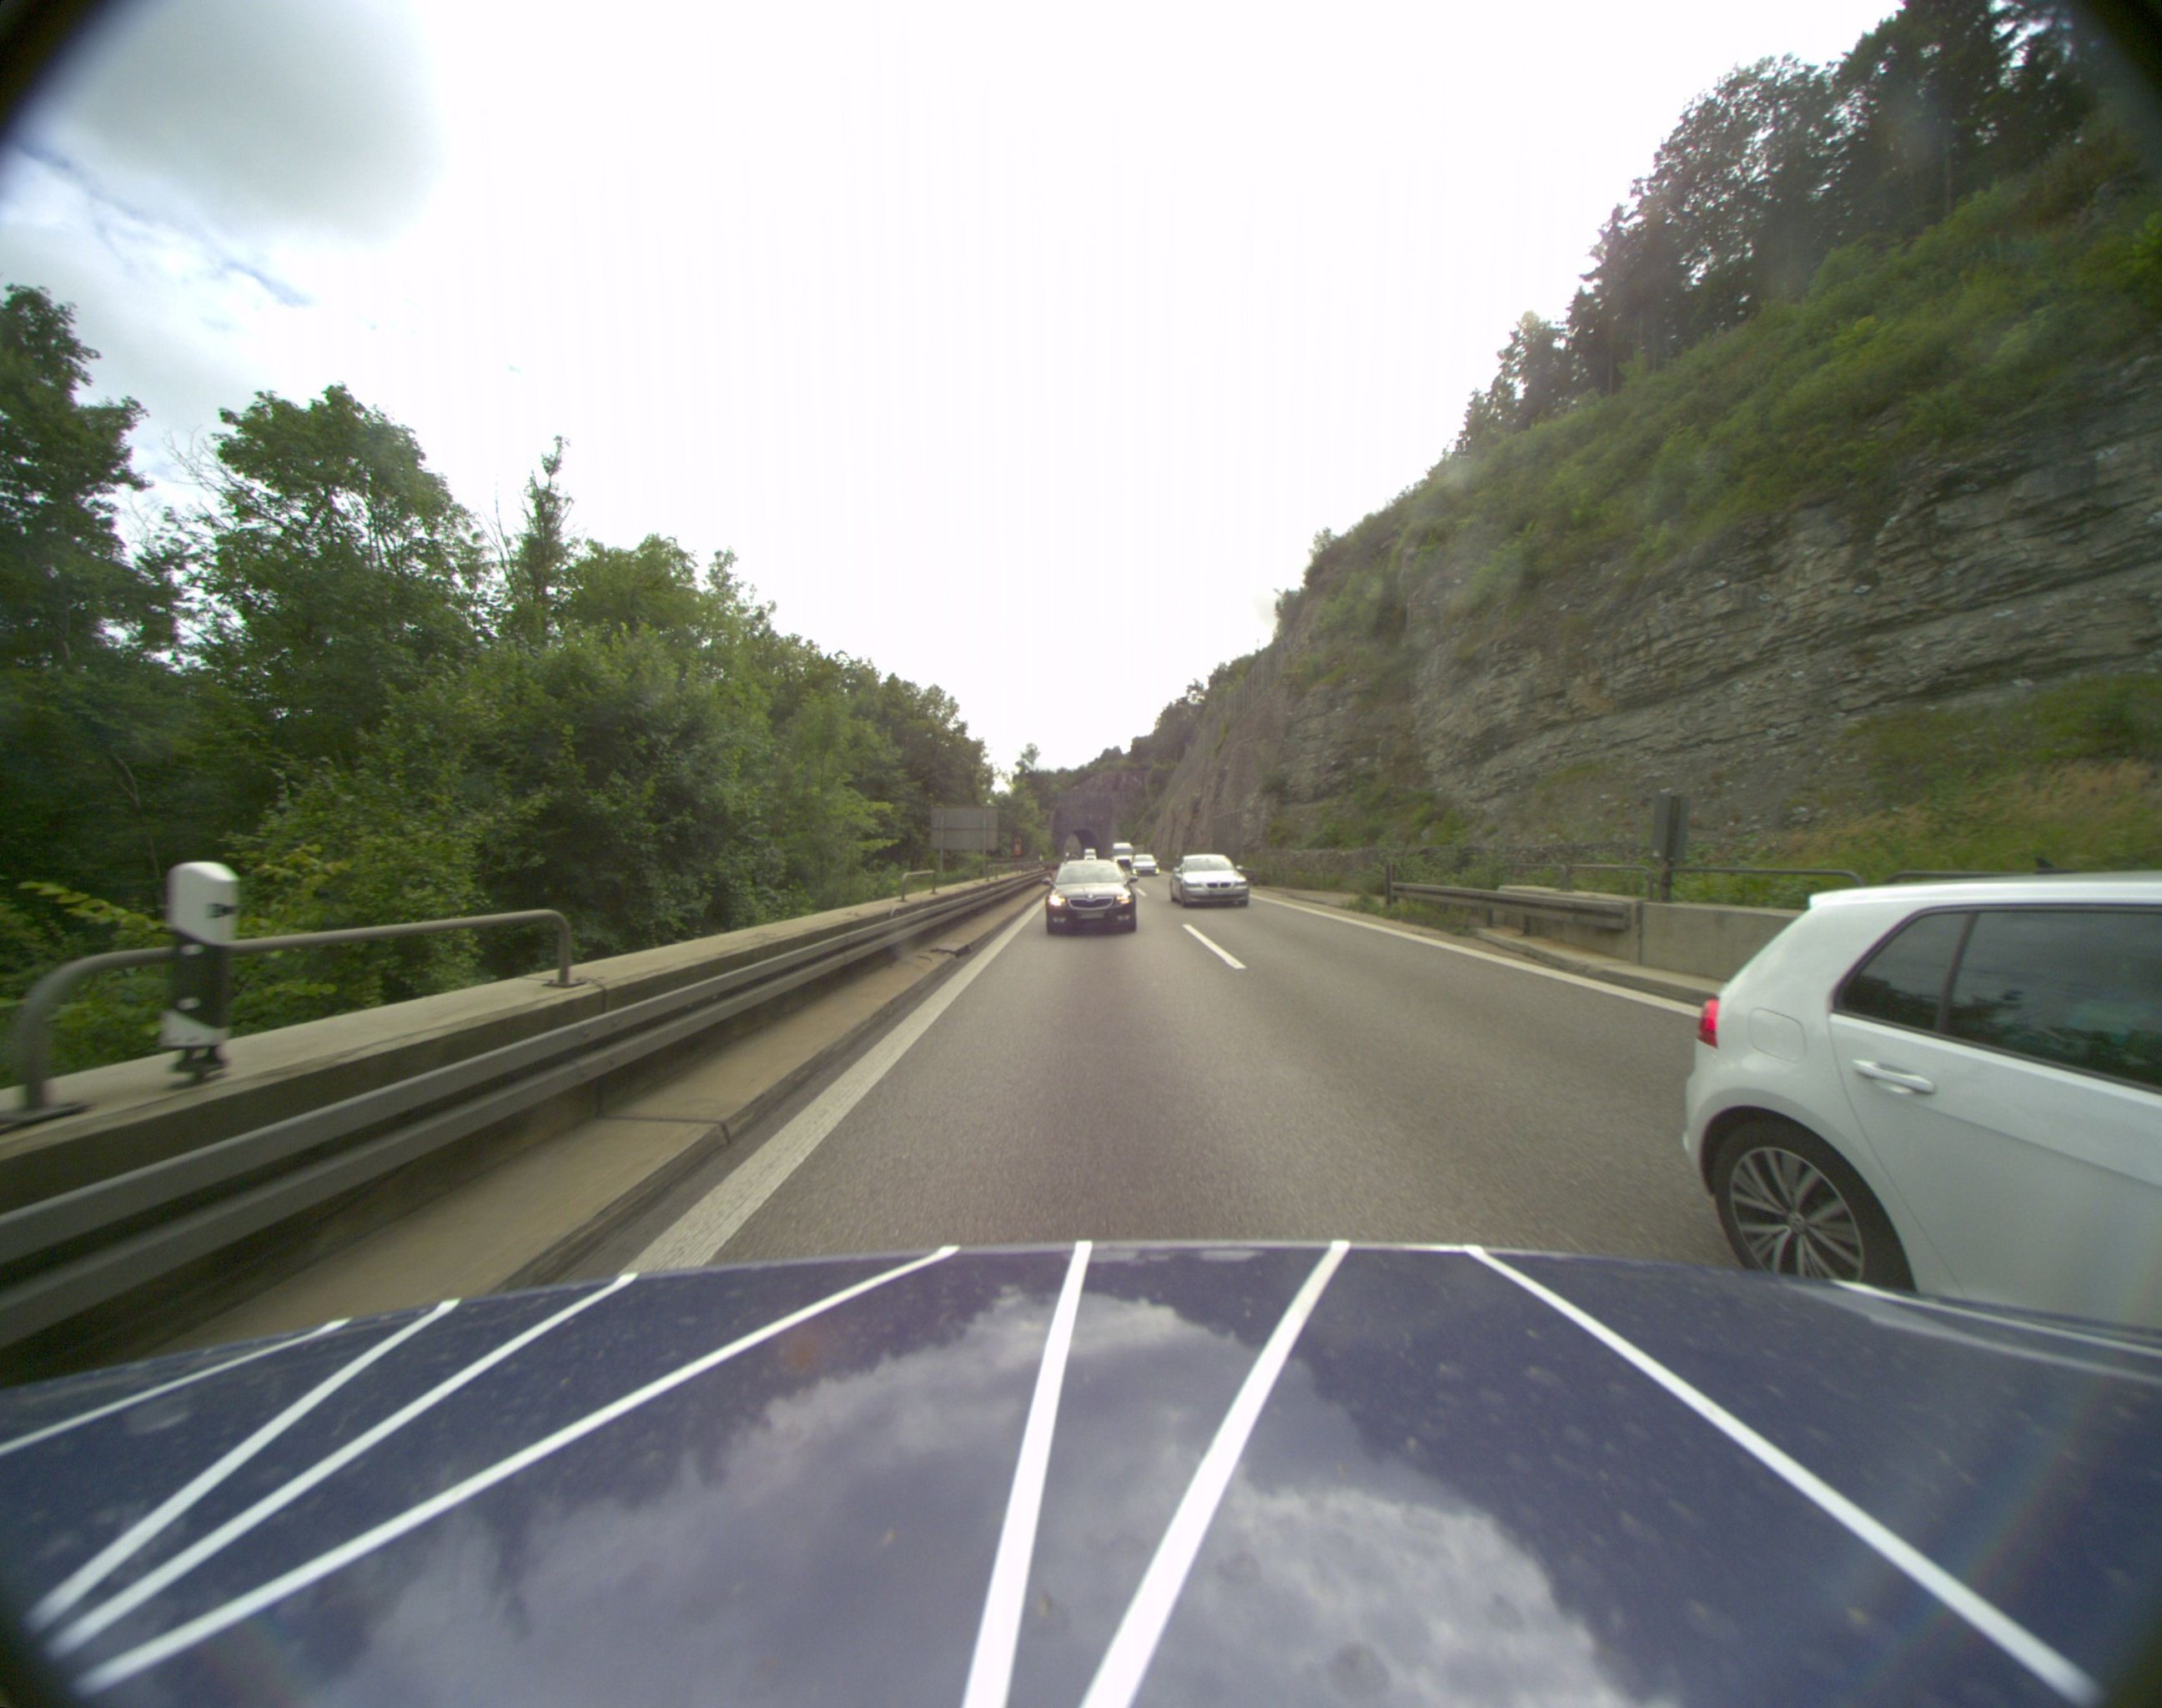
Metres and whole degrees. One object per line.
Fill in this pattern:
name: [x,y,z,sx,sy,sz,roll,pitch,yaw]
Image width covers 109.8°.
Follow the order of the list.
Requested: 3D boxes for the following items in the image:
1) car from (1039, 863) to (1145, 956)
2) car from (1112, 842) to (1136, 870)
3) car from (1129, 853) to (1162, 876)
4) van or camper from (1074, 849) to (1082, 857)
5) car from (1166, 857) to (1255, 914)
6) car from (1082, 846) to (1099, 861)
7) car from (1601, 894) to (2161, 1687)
car: [0.230,0.934,14.636,1.677,1.418,4.473,-2,0,1]
car: [4.148,0.149,73.399,1.869,2.444,4.981,-2,2,-1]
car: [4.451,0.720,53.257,1.923,1.452,4.231,-2,0,0]
van or camper: [-0.769,-0.183,187.771,1.999,2.002,3.999,-2,0,-2]
car: [3.697,0.837,22.594,1.832,1.448,5.135,-2,0,1]
car: [1.671,-0.070,137.102,2.675,2.408,6.119,-2,0,-3]
car: [3.028,0.891,0.830,1.849,1.473,4.628,0,0,1]
